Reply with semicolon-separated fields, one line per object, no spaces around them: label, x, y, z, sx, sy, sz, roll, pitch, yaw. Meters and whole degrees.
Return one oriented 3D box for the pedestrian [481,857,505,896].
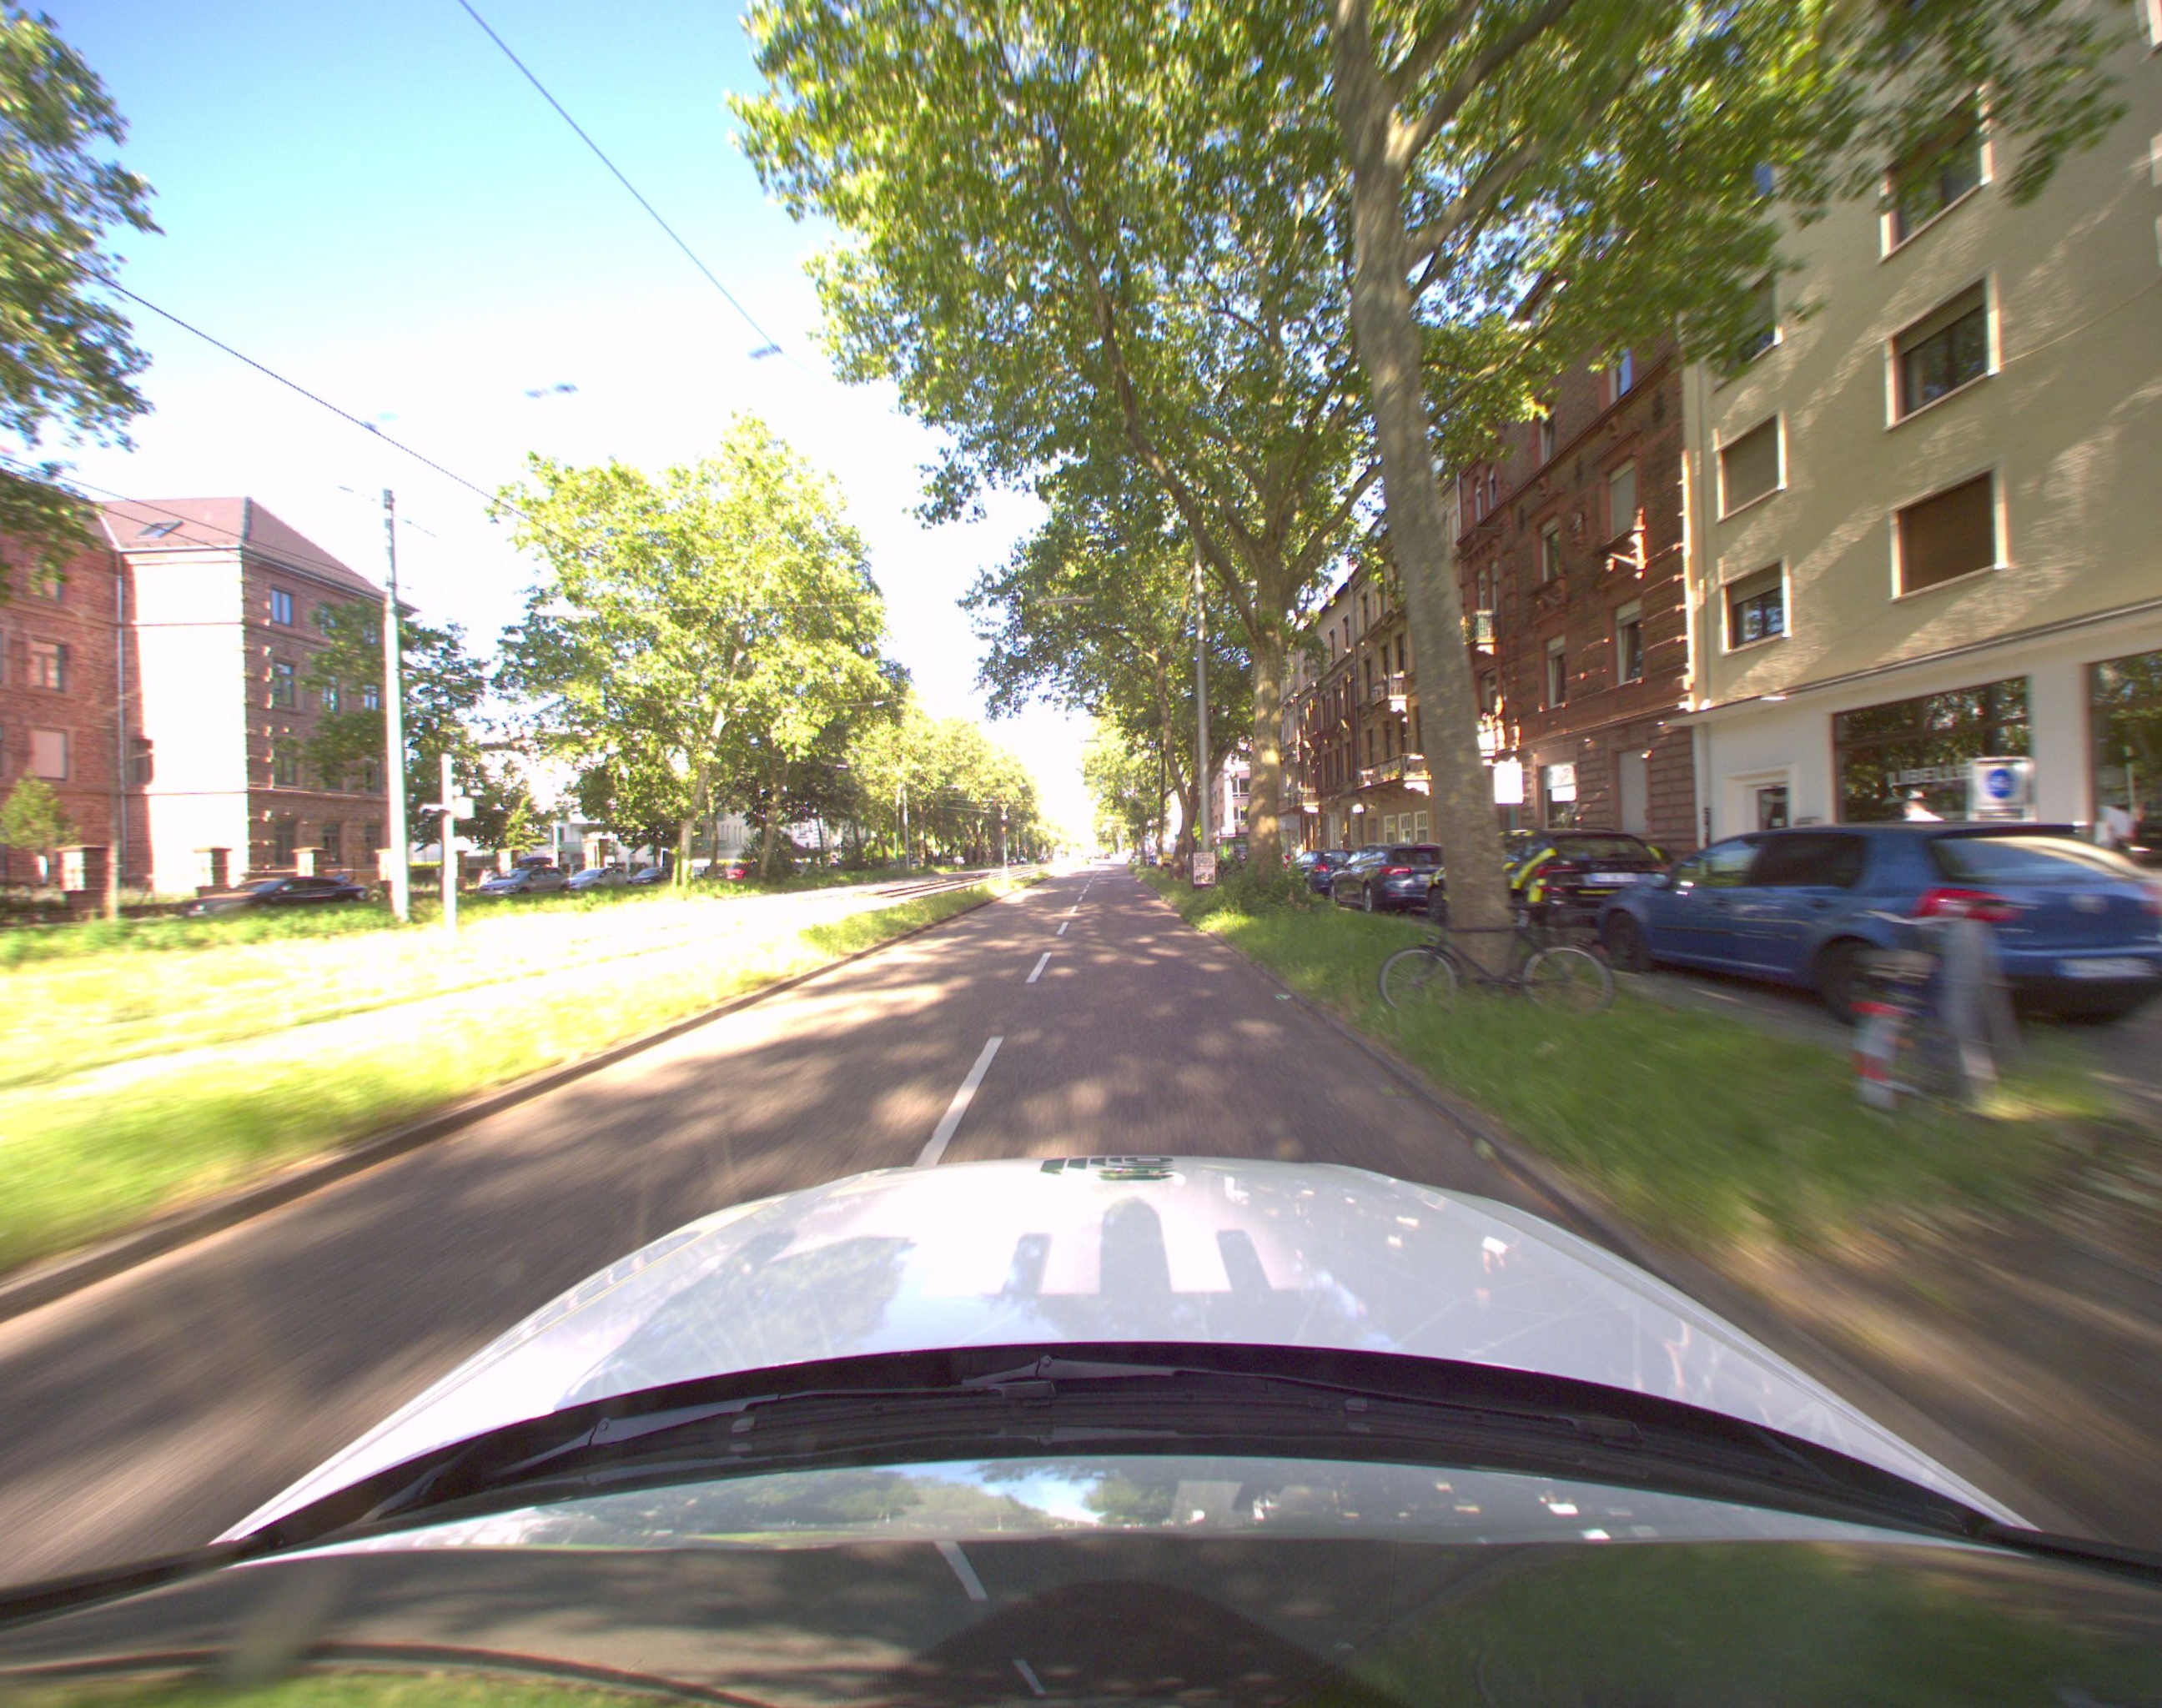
pedestrian;-30.488;1.147;42.240;0.712;2.013;0.626;-2;0;2

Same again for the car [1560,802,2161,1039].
car;6.322;0.383;7.234;1.708;1.452;4.263;-2;1;2

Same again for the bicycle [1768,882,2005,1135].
bicycle;4.035;0.637;4.034;1.773;0.928;0.646;-1;0;-40

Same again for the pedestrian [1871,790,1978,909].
pedestrian;12.601;-0.062;12.192;0.792;1.704;0.724;-2;0;2

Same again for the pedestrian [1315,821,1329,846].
pedestrian;14.576;-1.204;49.207;0.595;1.476;0.768;-1;-1;3

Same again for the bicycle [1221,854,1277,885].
bicycle;7.255;0.678;35.230;2.163;1.294;0.980;0;0;-9

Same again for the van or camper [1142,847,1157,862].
van or camper;9.264;0.038;110.594;1.832;1.963;5.128;-1;0;2

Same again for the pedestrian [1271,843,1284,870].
pedestrian;13.518;0.186;56.014;0.700;1.822;0.612;-1;0;1

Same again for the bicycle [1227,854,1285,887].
bicycle;7.018;0.652;32.796;2.155;1.294;0.984;0;0;3

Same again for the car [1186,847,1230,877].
car;7.644;0.473;49.437;1.884;1.647;4.800;1;0;0

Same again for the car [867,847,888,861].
car;-31.156;0.010;124.645;1.985;2.013;4.003;-2;0;3

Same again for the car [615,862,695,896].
car;-24.916;1.405;47.804;2.102;1.809;4.738;-2;0;1

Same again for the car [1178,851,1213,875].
car;7.635;0.581;54.627;1.731;1.464;4.365;1;0;1

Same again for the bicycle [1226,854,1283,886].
bicycle;7.210;0.660;33.943;2.156;1.294;0.983;0;0;1

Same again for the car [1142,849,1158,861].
car;8.940;0.175;105.209;1.678;1.514;3.666;-1;0;-1

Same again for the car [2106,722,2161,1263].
car;4.242;0.394;0.187;1.897;1.636;4.822;-1;0;-1

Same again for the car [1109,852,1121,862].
car;6.120;0.582;146.594;2.014;1.662;4.001;-1;0;1

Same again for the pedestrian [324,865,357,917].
pedestrian;-29.172;1.451;32.092;0.583;2.014;0.710;-1;-1;1

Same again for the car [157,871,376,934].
car;-25.776;1.453;26.083;1.986;1.649;4.830;-1;0;2

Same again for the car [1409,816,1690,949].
car;6.391;0.311;11.751;1.689;1.530;4.263;-2;1;2

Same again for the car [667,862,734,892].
car;-24.744;1.461;53.220;2.102;1.809;4.737;-2;0;0

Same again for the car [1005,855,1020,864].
car;-11.869;0.953;141.480;1.788;1.508;4.341;-4;-1;3

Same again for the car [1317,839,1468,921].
car;6.540;0.459;17.679;1.688;1.507;4.585;-2;1;3

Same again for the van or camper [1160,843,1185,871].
van or camper;8.667;0.290;77.602;2.174;2.480;6.275;1;0;4

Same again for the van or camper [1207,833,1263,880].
van or camper;7.459;0.125;39.919;1.827;2.098;4.774;1;0;0

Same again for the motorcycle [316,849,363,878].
motorcycle;-29.234;0.366;32.136;0.581;1.052;1.294;-1;1;2

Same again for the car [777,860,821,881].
car;-24.588;1.418;71.172;2.022;1.598;5.085;-4;-1;-1

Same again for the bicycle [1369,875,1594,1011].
bicycle;3.247;0.720;6.691;1.584;1.058;0.405;-1;-1;8

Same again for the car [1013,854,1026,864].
car;-12.535;1.024;166.385;1.985;1.870;4.876;-3;0;3

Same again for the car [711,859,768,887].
car;-24.666;1.326;59.020;2.102;1.809;4.738;-2;0;0

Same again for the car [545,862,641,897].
car;-25.186;1.293;42.230;1.983;1.615;4.427;-2;0;6

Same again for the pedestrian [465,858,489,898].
pedestrian;-31.297;1.230;42.214;0.712;2.013;0.626;-2;0;2

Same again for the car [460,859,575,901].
car;-25.289;1.121;36.737;1.759;1.719;4.427;-2;0;6

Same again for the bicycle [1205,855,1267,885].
bicycle;6.950;0.712;36.612;2.545;1.294;0.973;0;0;-5
